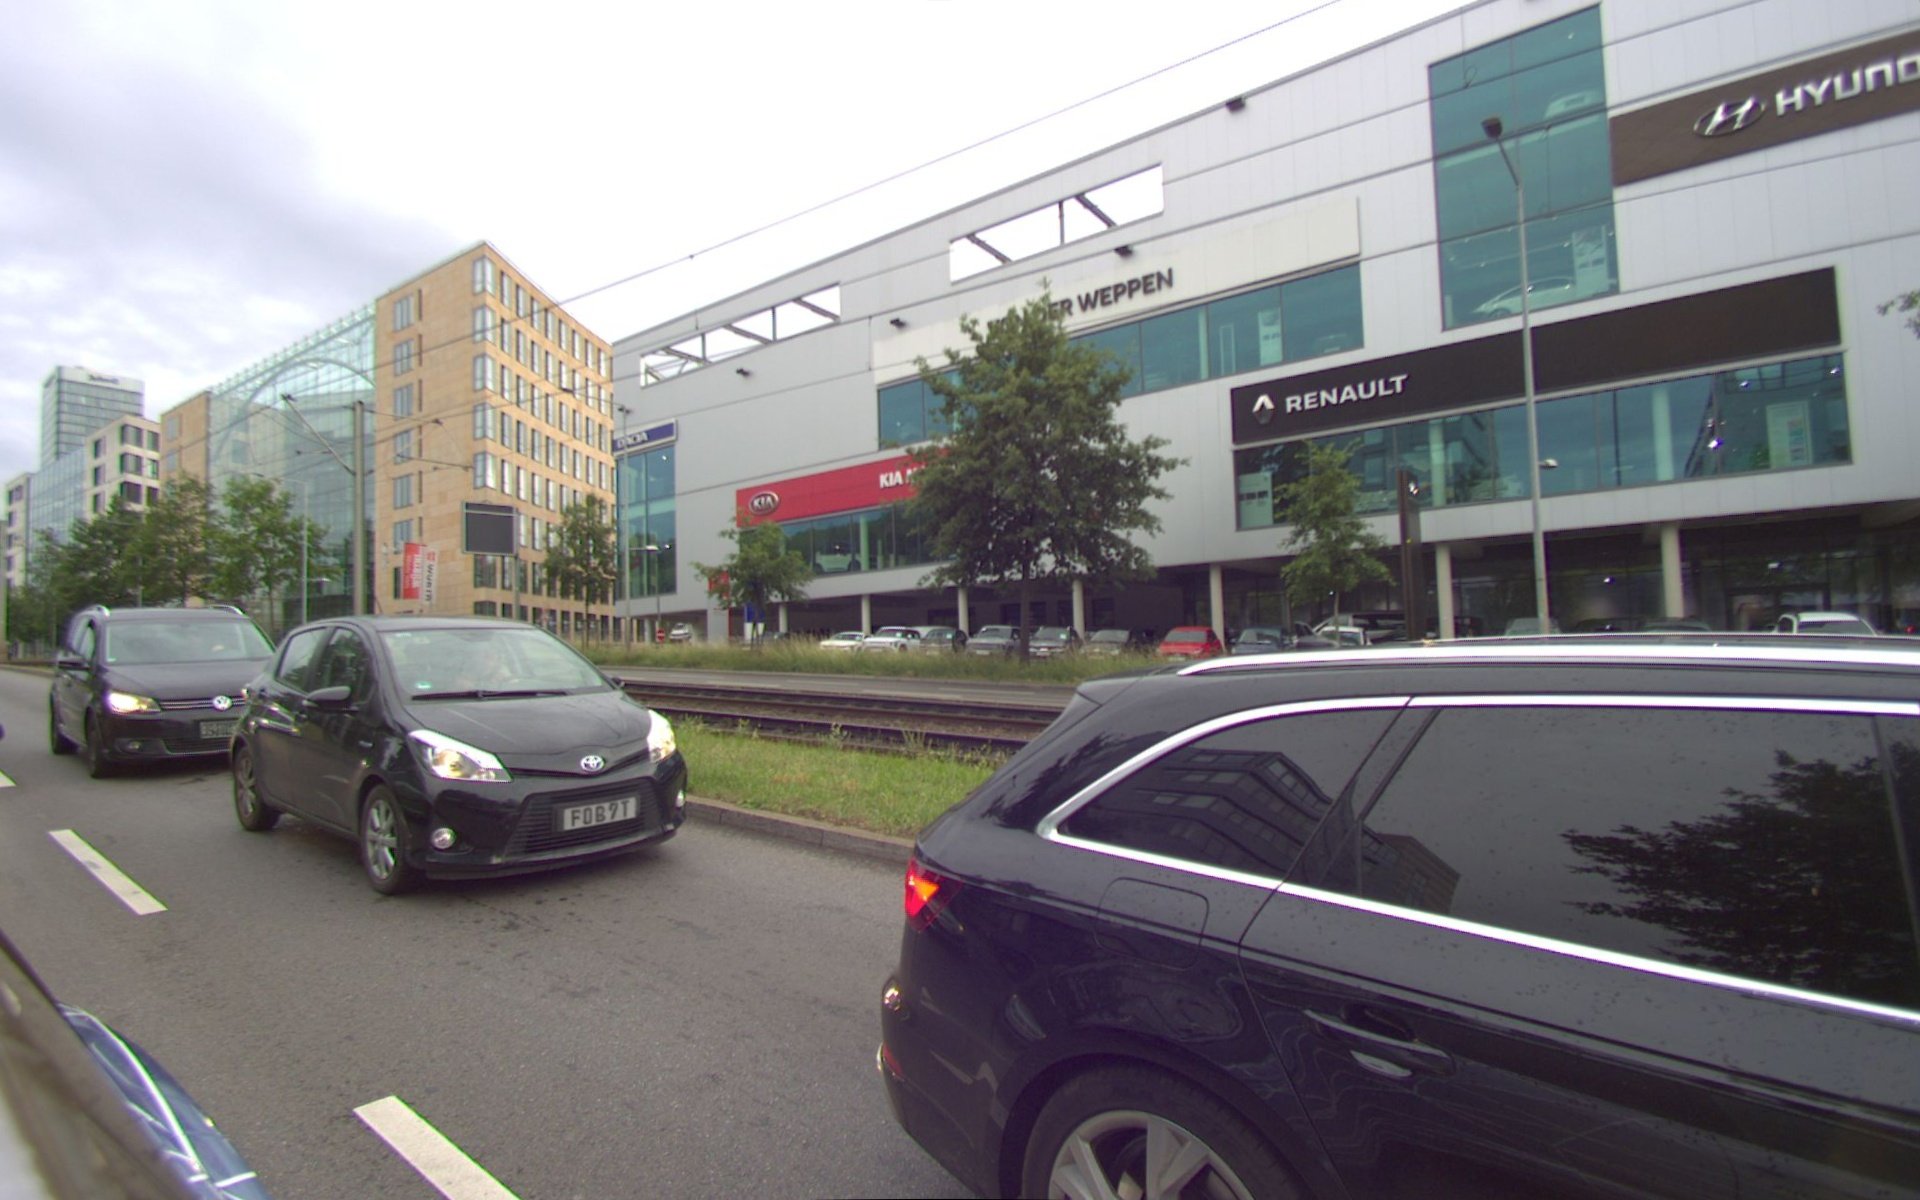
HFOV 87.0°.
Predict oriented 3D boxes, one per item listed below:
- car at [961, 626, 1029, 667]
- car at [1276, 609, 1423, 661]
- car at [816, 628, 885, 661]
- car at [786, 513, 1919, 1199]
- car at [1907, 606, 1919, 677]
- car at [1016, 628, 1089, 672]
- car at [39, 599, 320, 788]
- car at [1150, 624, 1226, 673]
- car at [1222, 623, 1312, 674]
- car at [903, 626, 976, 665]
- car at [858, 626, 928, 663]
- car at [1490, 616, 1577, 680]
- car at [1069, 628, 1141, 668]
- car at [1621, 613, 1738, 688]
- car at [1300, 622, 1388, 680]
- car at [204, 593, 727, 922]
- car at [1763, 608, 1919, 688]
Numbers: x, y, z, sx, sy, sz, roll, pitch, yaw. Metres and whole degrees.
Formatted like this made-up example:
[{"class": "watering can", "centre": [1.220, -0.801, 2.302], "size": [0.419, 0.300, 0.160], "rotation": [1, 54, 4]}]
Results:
[{"class": "car", "centre": [1.411, 1.796, 39.699], "size": [1.686, 1.362, 3.503], "rotation": [-2, 1, 20]}, {"class": "car", "centre": [13.953, 1.258, 36.499], "size": [4.488, 1.796, 1.997], "rotation": [-1, -1, 5]}, {"class": "car", "centre": [-4.789, 1.942, 44.639], "size": [1.685, 1.196, 3.643], "rotation": [-2, 1, 18]}, {"class": "car", "centre": [1.863, 0.641, 1.573], "size": [4.511, 1.478, 1.762], "rotation": [-2, -2, 41]}, {"class": "car", "centre": [22.817, 1.014, 22.225], "size": [1.992, 1.627, 4.331], "rotation": [-1, 1, 30]}, {"class": "car", "centre": [3.494, 1.841, 37.784], "size": [1.688, 1.362, 3.498], "rotation": [-2, 1, 24]}, {"class": "car", "centre": [-8.482, 0.852, 10.848], "size": [4.318, 1.619, 1.762], "rotation": [-2, -1, 44]}, {"class": "car", "centre": [7.809, 1.619, 34.447], "size": [1.789, 1.362, 3.903], "rotation": [-2, 1, 24]}, {"class": "car", "centre": [10.072, 1.545, 33.043], "size": [1.914, 1.362, 4.005], "rotation": [-1, 1, 30]}, {"class": "car", "centre": [-0.791, 1.817, 41.032], "size": [1.688, 1.362, 3.499], "rotation": [-2, 1, 23]}, {"class": "car", "centre": [-2.799, 1.872, 42.963], "size": [1.685, 1.304, 3.643], "rotation": [-2, 1, 18]}, {"class": "car", "centre": [15.854, 1.277, 27.972], "size": [1.925, 1.470, 3.981], "rotation": [-1, 1, 30]}, {"class": "car", "centre": [5.242, 1.689, 36.324], "size": [1.688, 1.190, 3.498], "rotation": [-2, 1, 24]}, {"class": "car", "centre": [18.053, 1.201, 25.586], "size": [1.992, 1.562, 4.331], "rotation": [-1, 1, 30]}, {"class": "car", "centre": [11.946, 1.520, 31.347], "size": [1.914, 1.470, 4.005], "rotation": [-1, 1, 30]}, {"class": "car", "centre": [-3.394, 0.780, 6.640], "size": [3.823, 1.544, 1.683], "rotation": [-1, -1, 40]}, {"class": "car", "centre": [20.592, 1.054, 23.811], "size": [1.992, 1.562, 4.331], "rotation": [-1, 1, 30]}]
